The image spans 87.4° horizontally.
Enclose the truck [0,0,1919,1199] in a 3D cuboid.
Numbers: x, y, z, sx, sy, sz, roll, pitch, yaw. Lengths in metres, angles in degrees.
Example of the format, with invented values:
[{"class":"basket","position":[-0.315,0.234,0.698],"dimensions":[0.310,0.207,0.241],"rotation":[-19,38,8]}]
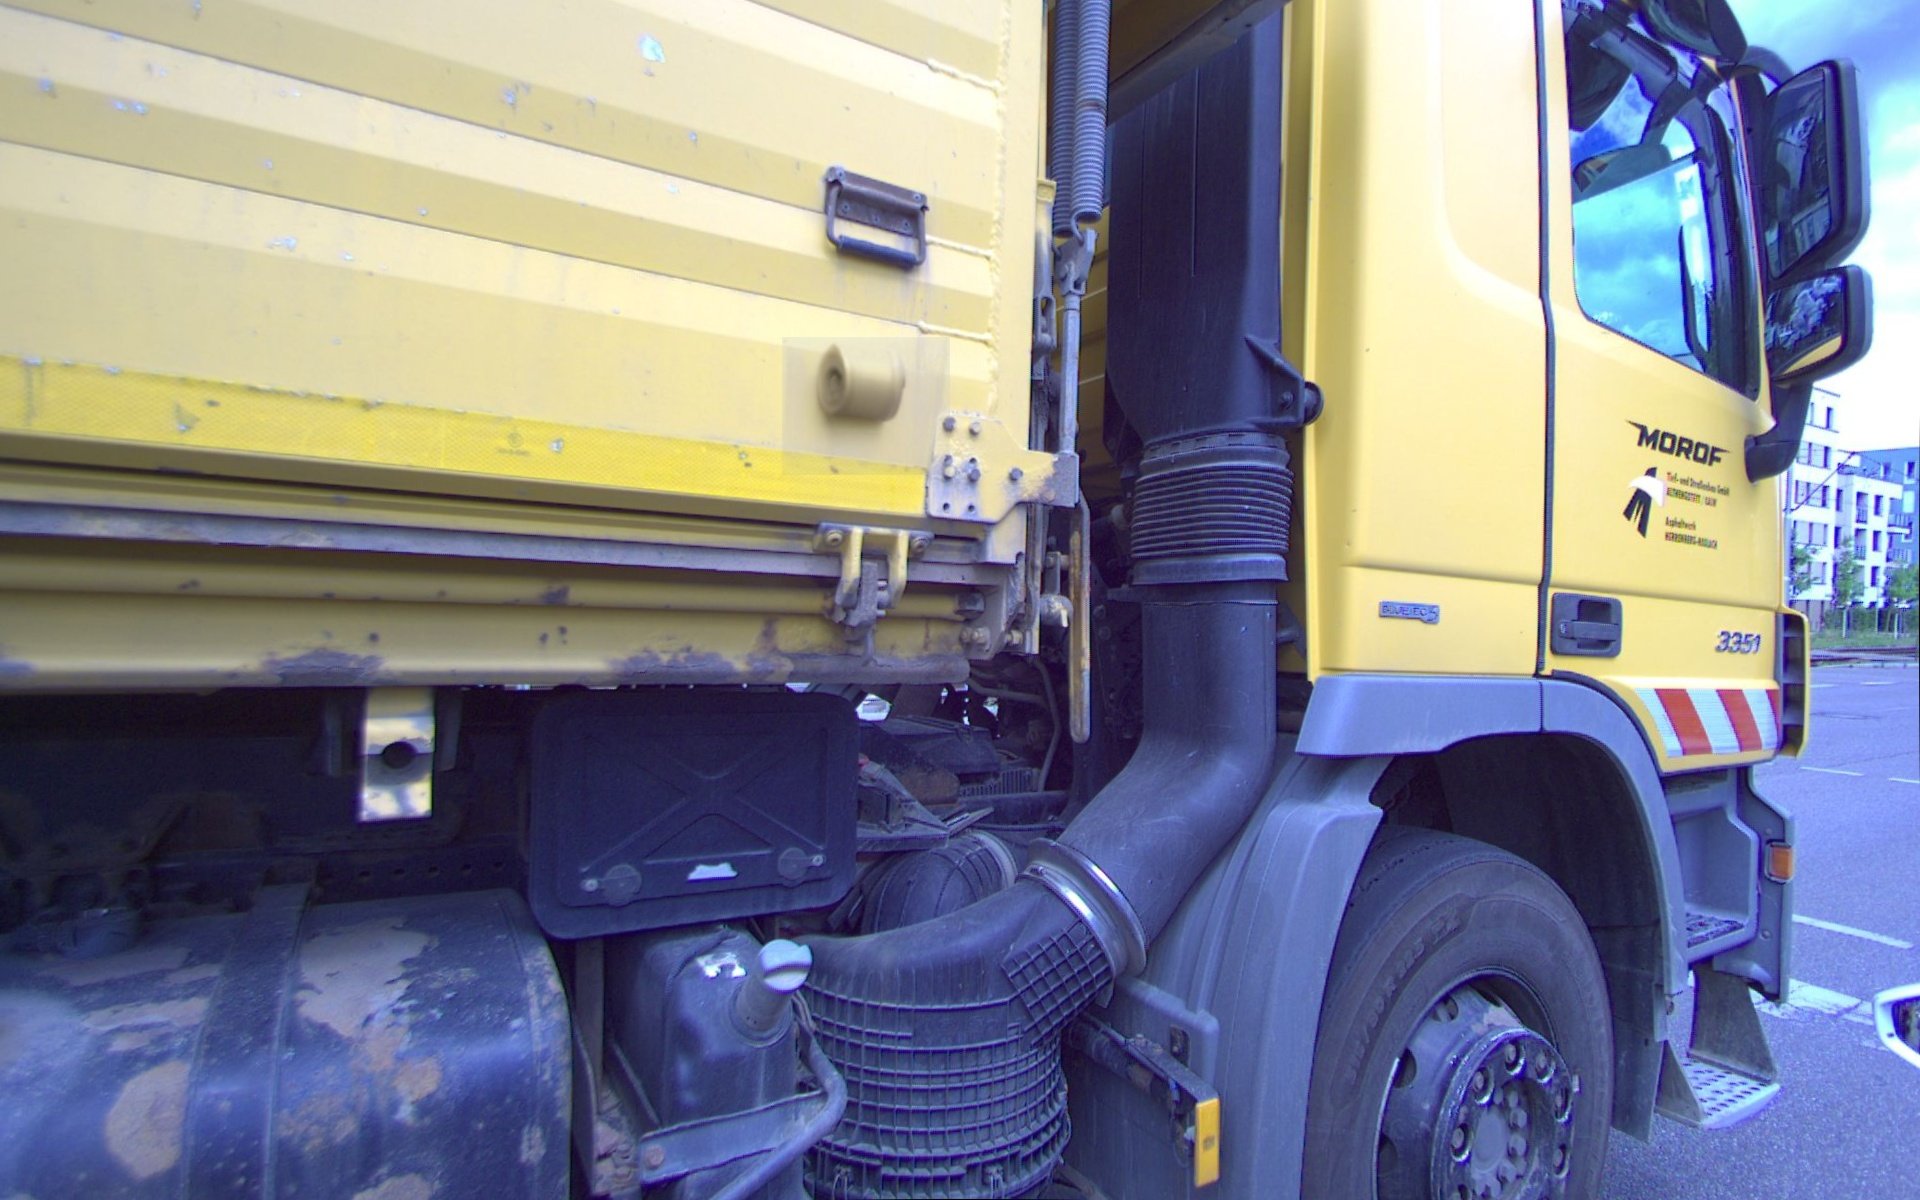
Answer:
[{"class":"truck","position":[-1.544,-0.048,1.594],"dimensions":[7.688,3.043,2.707],"rotation":[2,0,-30]}]
